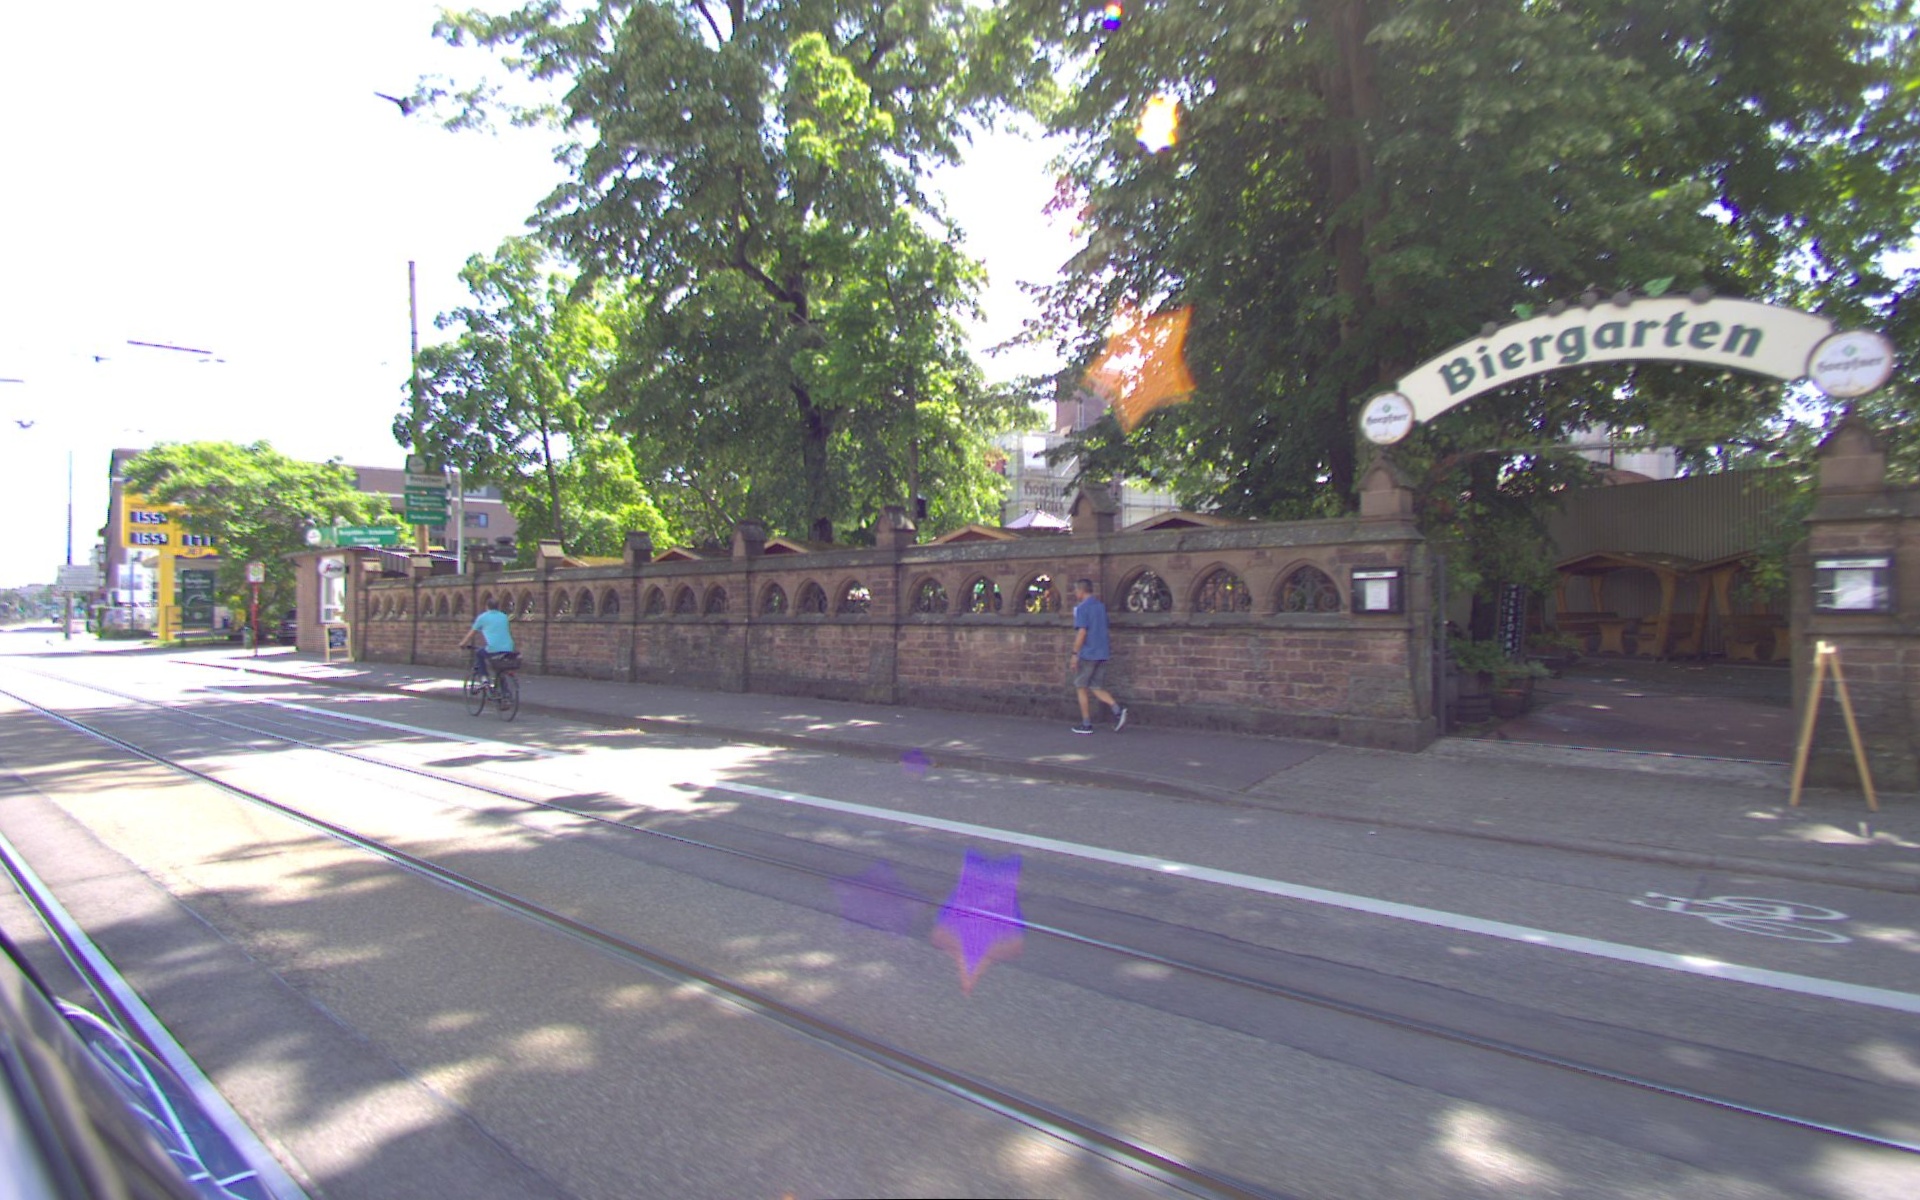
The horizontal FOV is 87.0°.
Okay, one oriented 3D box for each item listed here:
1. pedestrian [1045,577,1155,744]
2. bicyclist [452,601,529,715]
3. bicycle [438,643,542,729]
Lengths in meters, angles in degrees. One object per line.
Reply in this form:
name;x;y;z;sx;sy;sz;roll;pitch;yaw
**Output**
pedestrian;1.562;0.641;11.280;0.919;1.762;0.741;-1;1;41
bicyclist;-6.965;0.850;15.011;0.919;1.637;0.656;-1;-4;41
bicycle;-6.988;1.247;15.006;1.895;1.172;0.652;-1;-3;41
